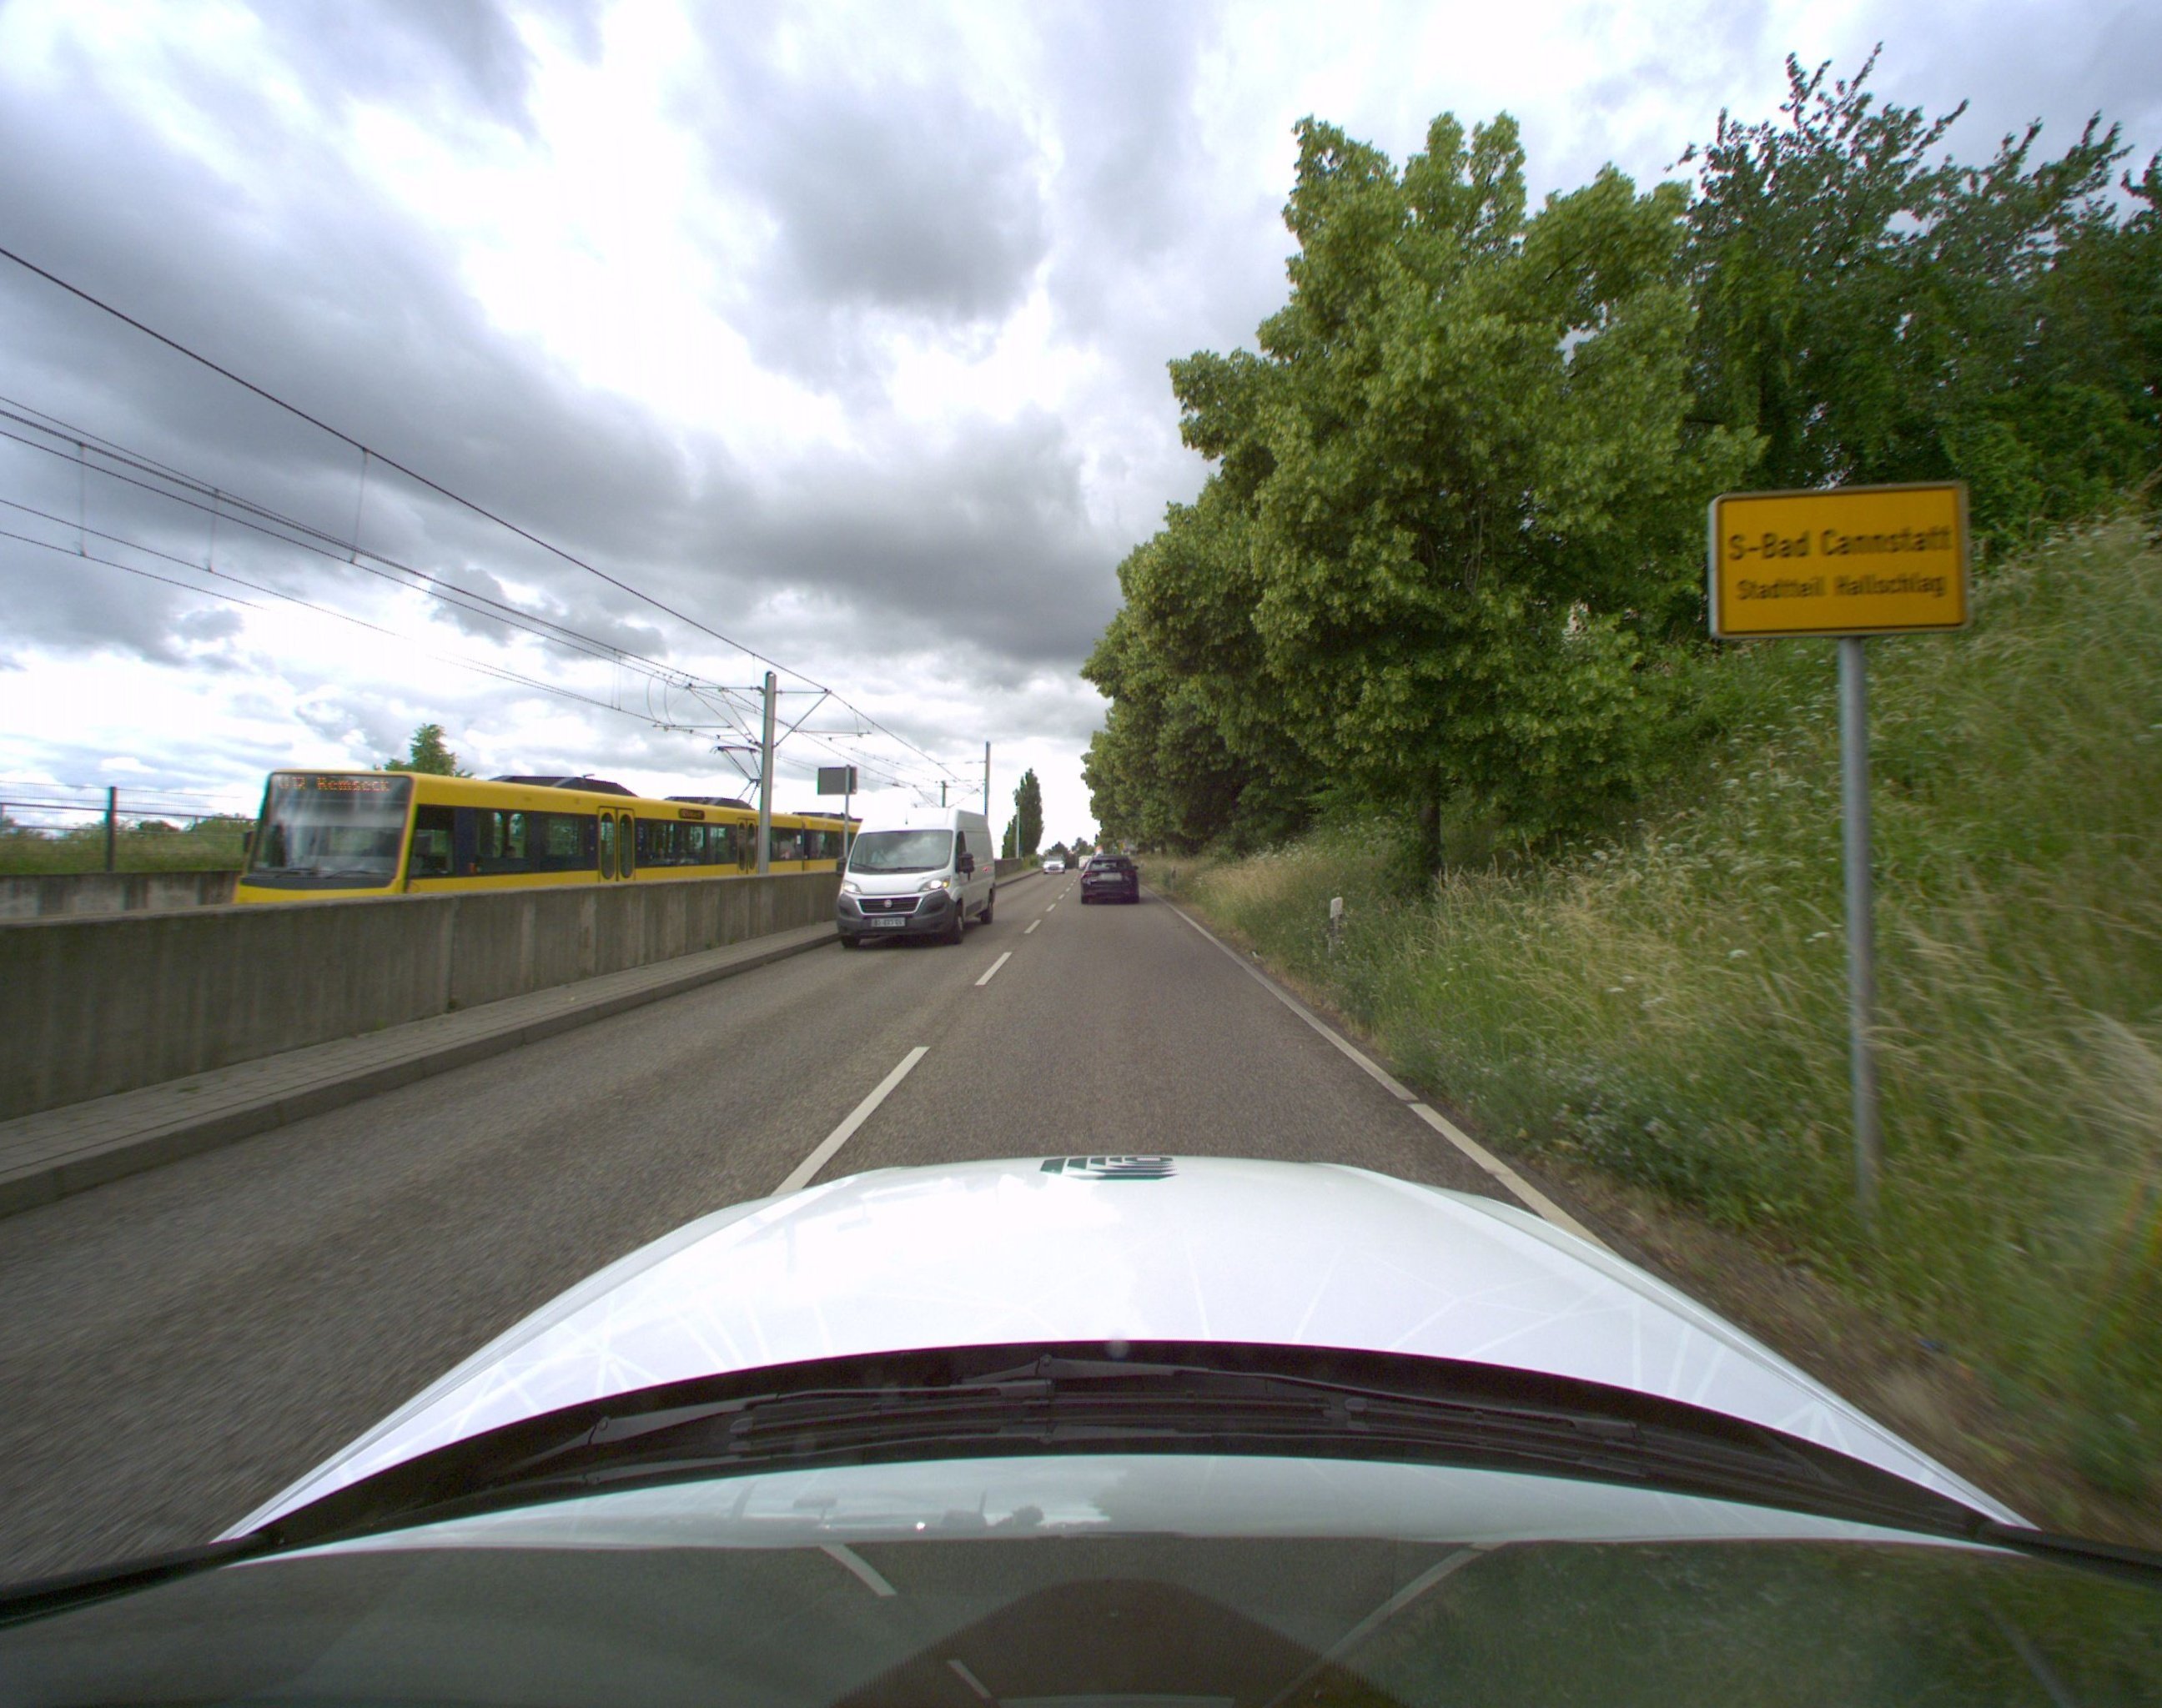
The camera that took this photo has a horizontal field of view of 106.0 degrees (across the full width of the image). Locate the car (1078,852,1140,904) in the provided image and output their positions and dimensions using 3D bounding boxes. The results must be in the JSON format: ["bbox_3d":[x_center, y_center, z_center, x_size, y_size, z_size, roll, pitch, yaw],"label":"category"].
[{"bbox_3d":[0.866,0.696,25.502,1.775,1.468,4.001,-1,0,1],"label":"car"}]

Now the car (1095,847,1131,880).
[{"bbox_3d":[1.807,0.516,46.750,1.986,1.753,4.001,-1,0,1],"label":"car"}]

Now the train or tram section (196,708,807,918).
[{"bbox_3d":[-11.926,-0.510,21.754,2.802,3.117,18.911,-1,-1,0],"label":"train or tram section"}]

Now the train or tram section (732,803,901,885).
[{"bbox_3d":[-12.163,-0.270,40.535,2.797,3.077,19.084,-1,-1,-2],"label":"train or tram section"}]

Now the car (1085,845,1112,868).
[{"bbox_3d":[1.350,0.204,63.465,1.986,1.740,4.001,-1,-1,1],"label":"car"}]

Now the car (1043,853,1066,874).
[{"bbox_3d":[-2.168,0.724,65.980,1.727,1.572,3.997,-2,0,-2],"label":"car"}]

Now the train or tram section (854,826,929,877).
[{"bbox_3d":[-13.419,-0.018,59.496,2.797,3.025,19.267,-1,-1,-6],"label":"train or tram section"}]

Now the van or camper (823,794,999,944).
[{"bbox_3d":[-3.056,0.242,16.240,2.075,2.396,6.138,-1,0,1],"label":"van or camper"}]
